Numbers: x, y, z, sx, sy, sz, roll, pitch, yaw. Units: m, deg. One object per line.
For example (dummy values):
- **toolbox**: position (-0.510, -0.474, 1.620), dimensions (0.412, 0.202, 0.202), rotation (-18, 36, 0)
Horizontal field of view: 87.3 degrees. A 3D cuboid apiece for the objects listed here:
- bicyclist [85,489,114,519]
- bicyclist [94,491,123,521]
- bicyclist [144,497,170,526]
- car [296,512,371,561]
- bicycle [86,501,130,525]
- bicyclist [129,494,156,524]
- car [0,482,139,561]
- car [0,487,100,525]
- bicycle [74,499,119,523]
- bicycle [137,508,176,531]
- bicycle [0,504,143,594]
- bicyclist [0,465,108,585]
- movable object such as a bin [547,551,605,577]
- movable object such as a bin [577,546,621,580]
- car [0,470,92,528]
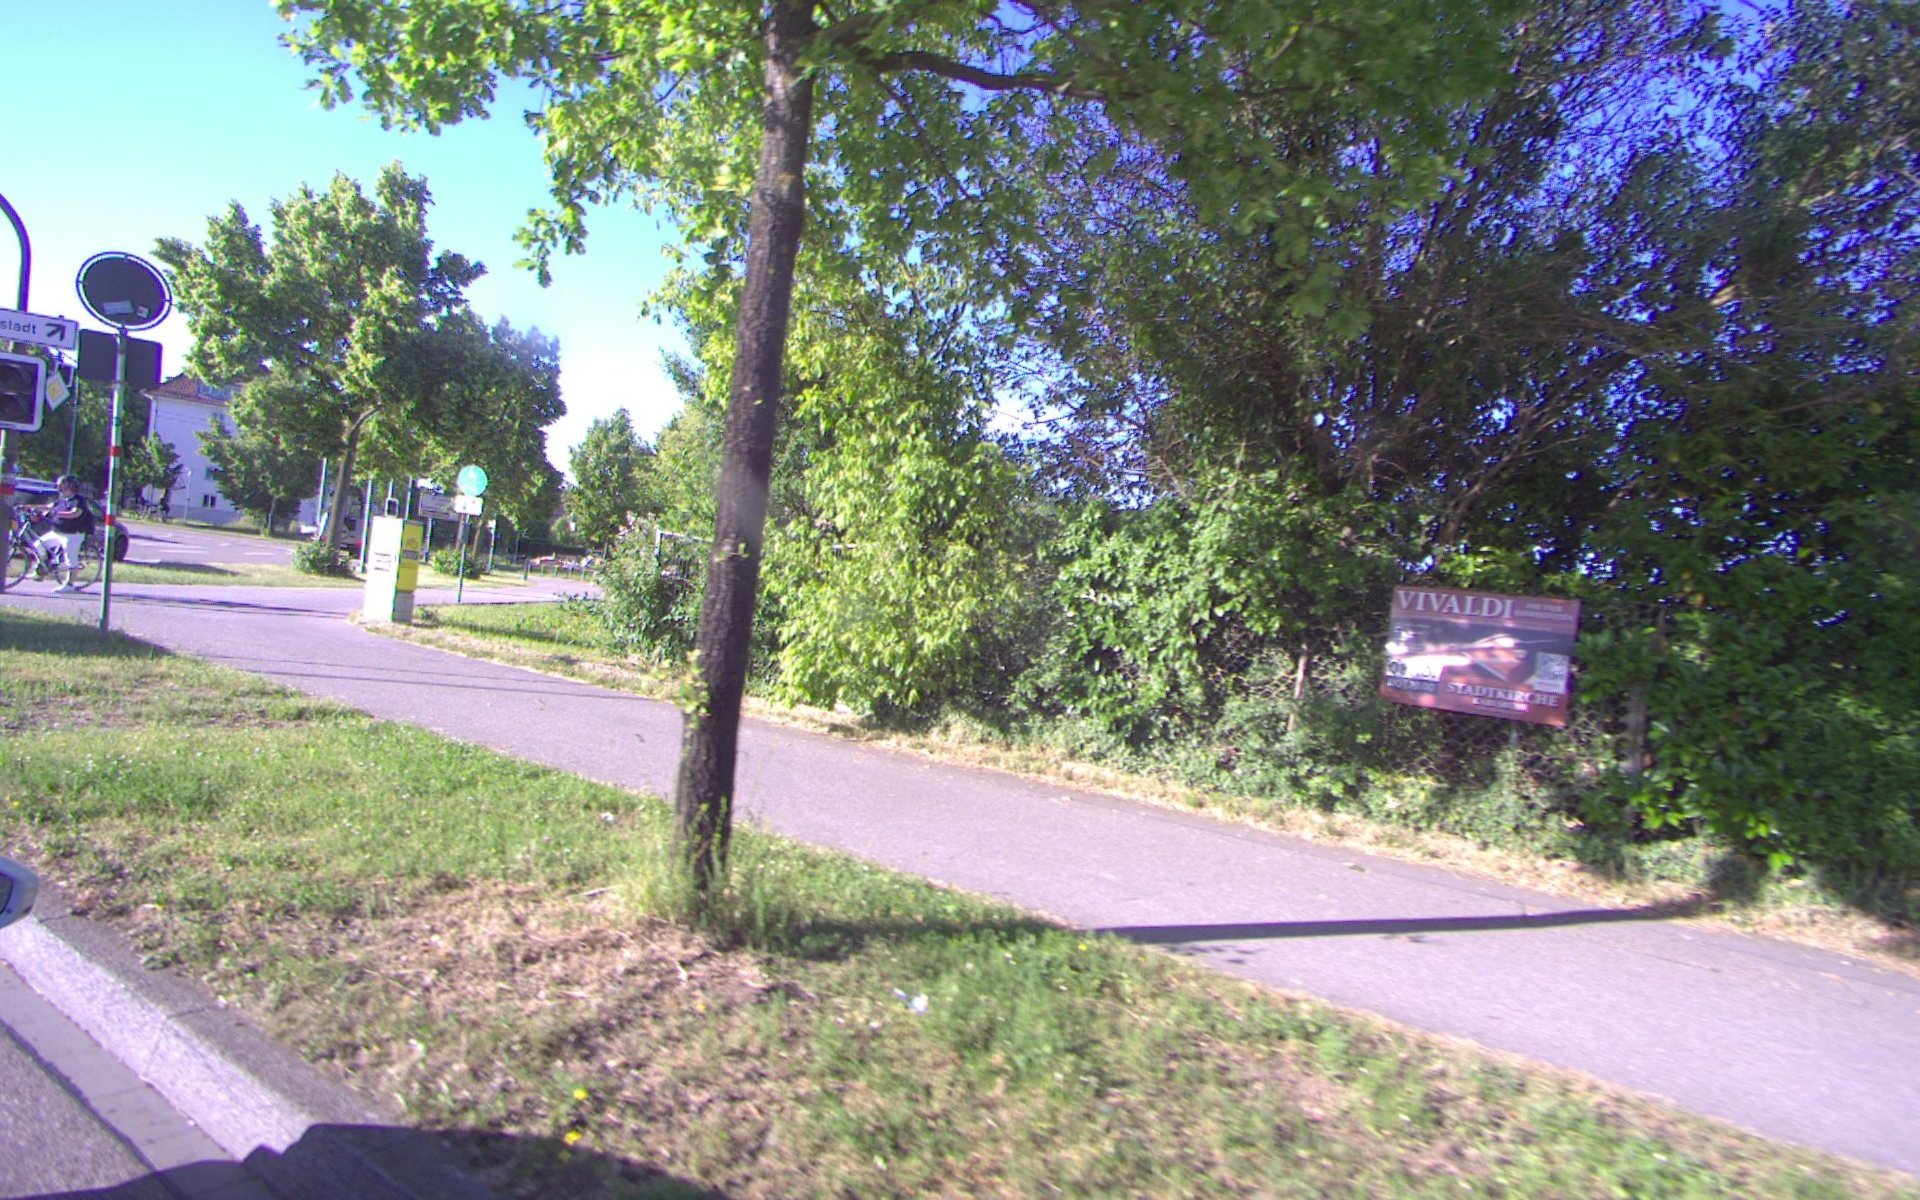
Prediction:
- **bicyclist**: position (-59.637, -6.657, 69.737), dimensions (1.007, 1.874, 0.885), rotation (7, -1, -3)
- **bicyclist**: position (-60.242, -6.669, 71.182), dimensions (1.007, 1.874, 0.885), rotation (7, -1, -3)
- **bicyclist**: position (-56.702, -6.230, 71.051), dimensions (1.006, 1.874, 0.813), rotation (6, -1, 12)
- **car**: position (-29.494, -3.026, 47.322), dimensions (1.991, 1.920, 4.695), rotation (7, -1, -43)
- **bicycle**: position (-60.265, -6.135, 71.156), dimensions (2.169, 1.280, 0.885), rotation (7, -2, -3)
- **bicyclist**: position (-56.819, -6.294, 69.950), dimensions (1.006, 1.874, 0.813), rotation (6, -1, 12)
- **car**: position (-19.478, -1.660, 21.396), dimensions (1.695, 1.453, 4.133), rotation (7, 0, -19)
- **car**: position (-54.150, -5.569, 59.726), dimensions (4.326, 1.558, 2.000), rotation (7, 0, 1)
- **bicycle**: position (-59.843, -6.146, 69.713), dimensions (2.169, 1.280, 0.885), rotation (7, -2, -3)
- **bicycle**: position (-56.742, -5.699, 71.028), dimensions (2.167, 1.280, 0.819), rotation (7, -1, 11)
- **bicycle**: position (-13.230, -0.732, 14.479), dimensions (0.859, 1.170, 2.217), rotation (6, 0, 9)
- **bicyclist**: position (-13.195, -1.065, 14.447), dimensions (0.859, 1.582, 1.088), rotation (6, 1, 9)
- **movable object such as a bin**: position (-39.700, -3.691, 104.076), dimensions (4.984, 1.970, 2.217), rotation (9, -3, -38)
- **movable object such as a bin**: position (-34.323, -3.552, 95.621), dimensions (1.986, 2.821, 4.992), rotation (8, -2, -41)
- **car**: position (-30.942, -3.365, 33.635), dimensions (1.978, 1.594, 4.373), rotation (7, 0, -30)
